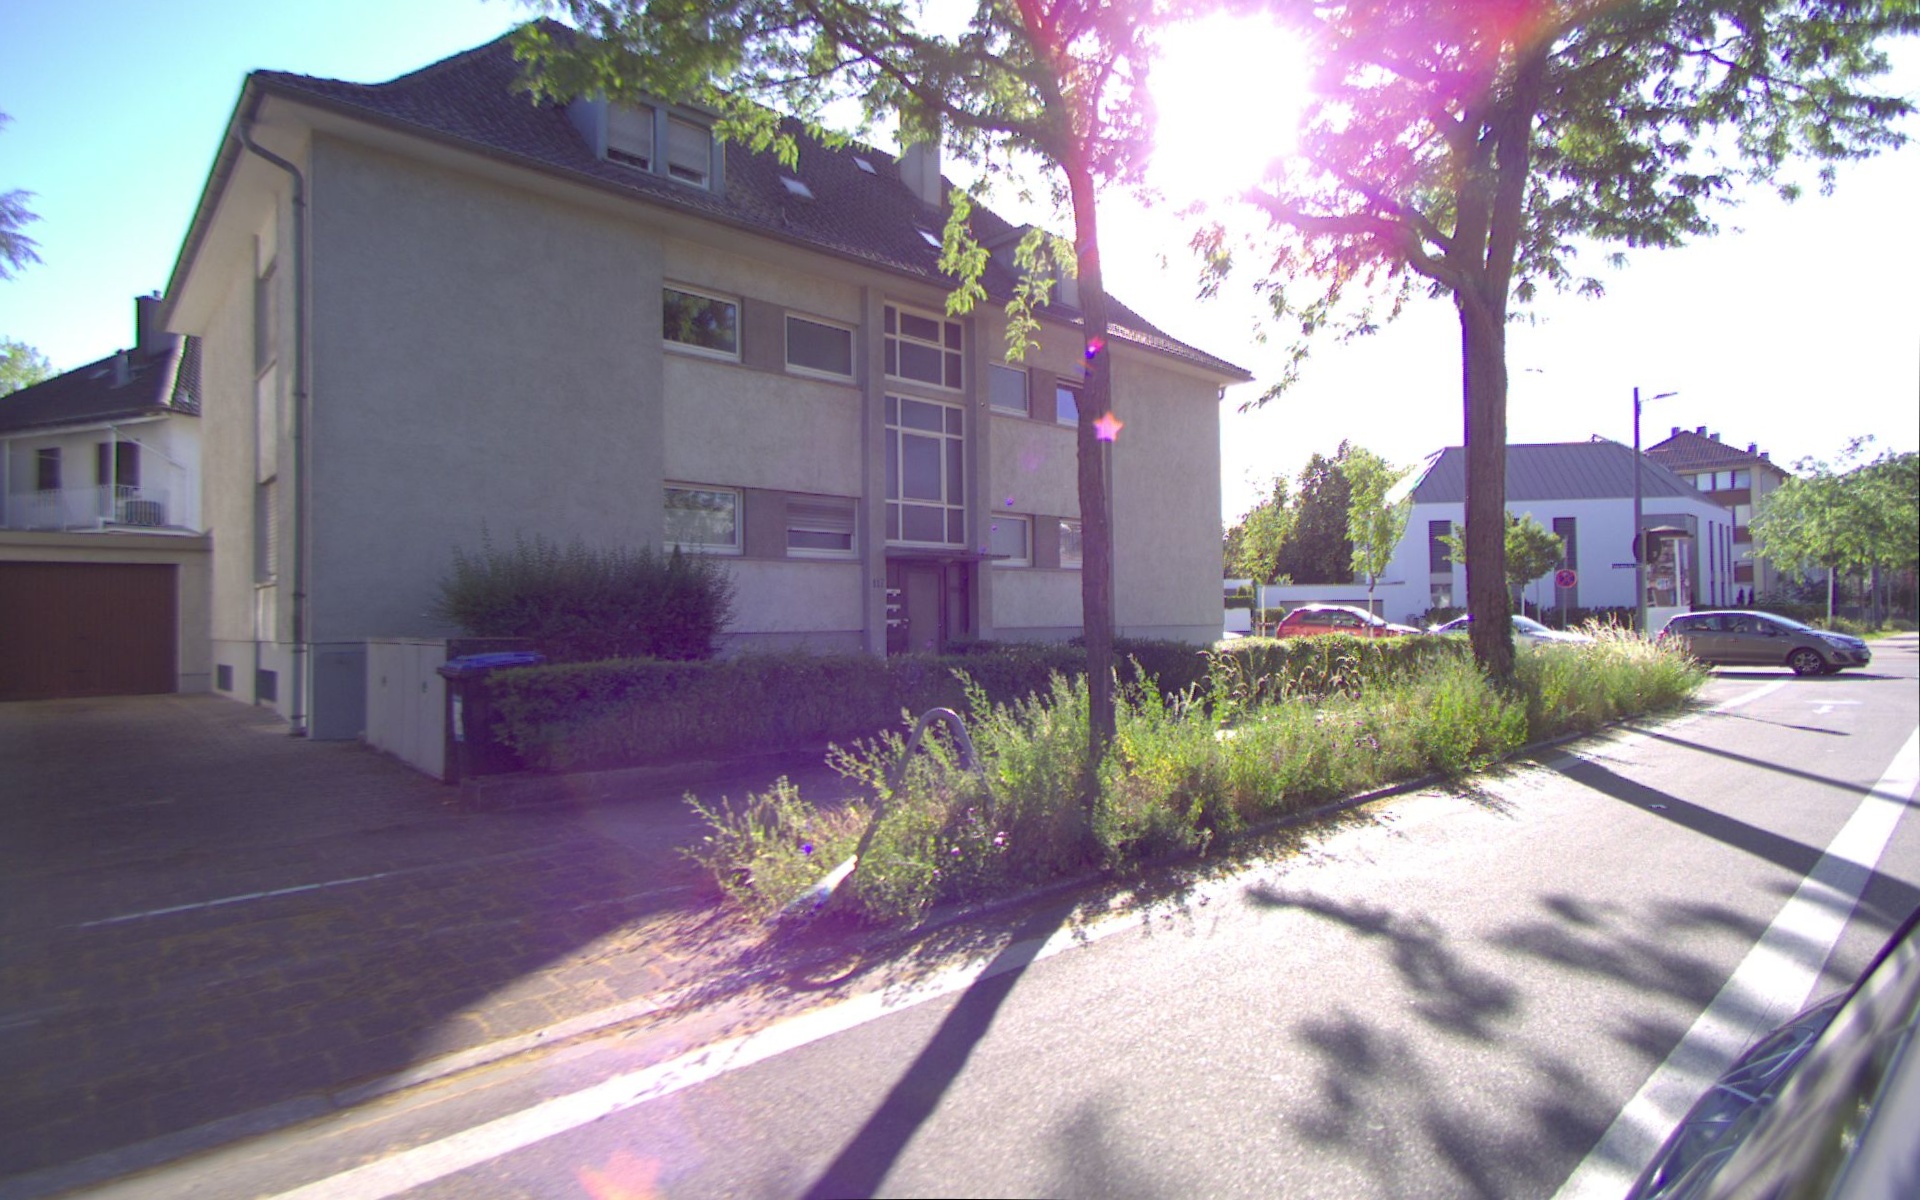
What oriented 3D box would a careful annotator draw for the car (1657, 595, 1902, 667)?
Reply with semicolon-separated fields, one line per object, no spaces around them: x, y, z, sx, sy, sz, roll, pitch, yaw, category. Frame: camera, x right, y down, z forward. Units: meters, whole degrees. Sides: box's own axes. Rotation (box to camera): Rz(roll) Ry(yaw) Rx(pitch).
18.937;0.702;23.571;1.943;1.527;4.001;0;-1;-33;car

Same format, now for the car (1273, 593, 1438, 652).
11.840;0.676;30.461;1.949;1.663;4.165;0;-2;-44;car

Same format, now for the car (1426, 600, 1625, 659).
16.074;0.795;29.032;1.943;1.484;4.621;-2;0;-30;car

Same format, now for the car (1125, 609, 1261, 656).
7.993;1.109;34.904;4.159;1.527;1.952;-2;-2;43;car
